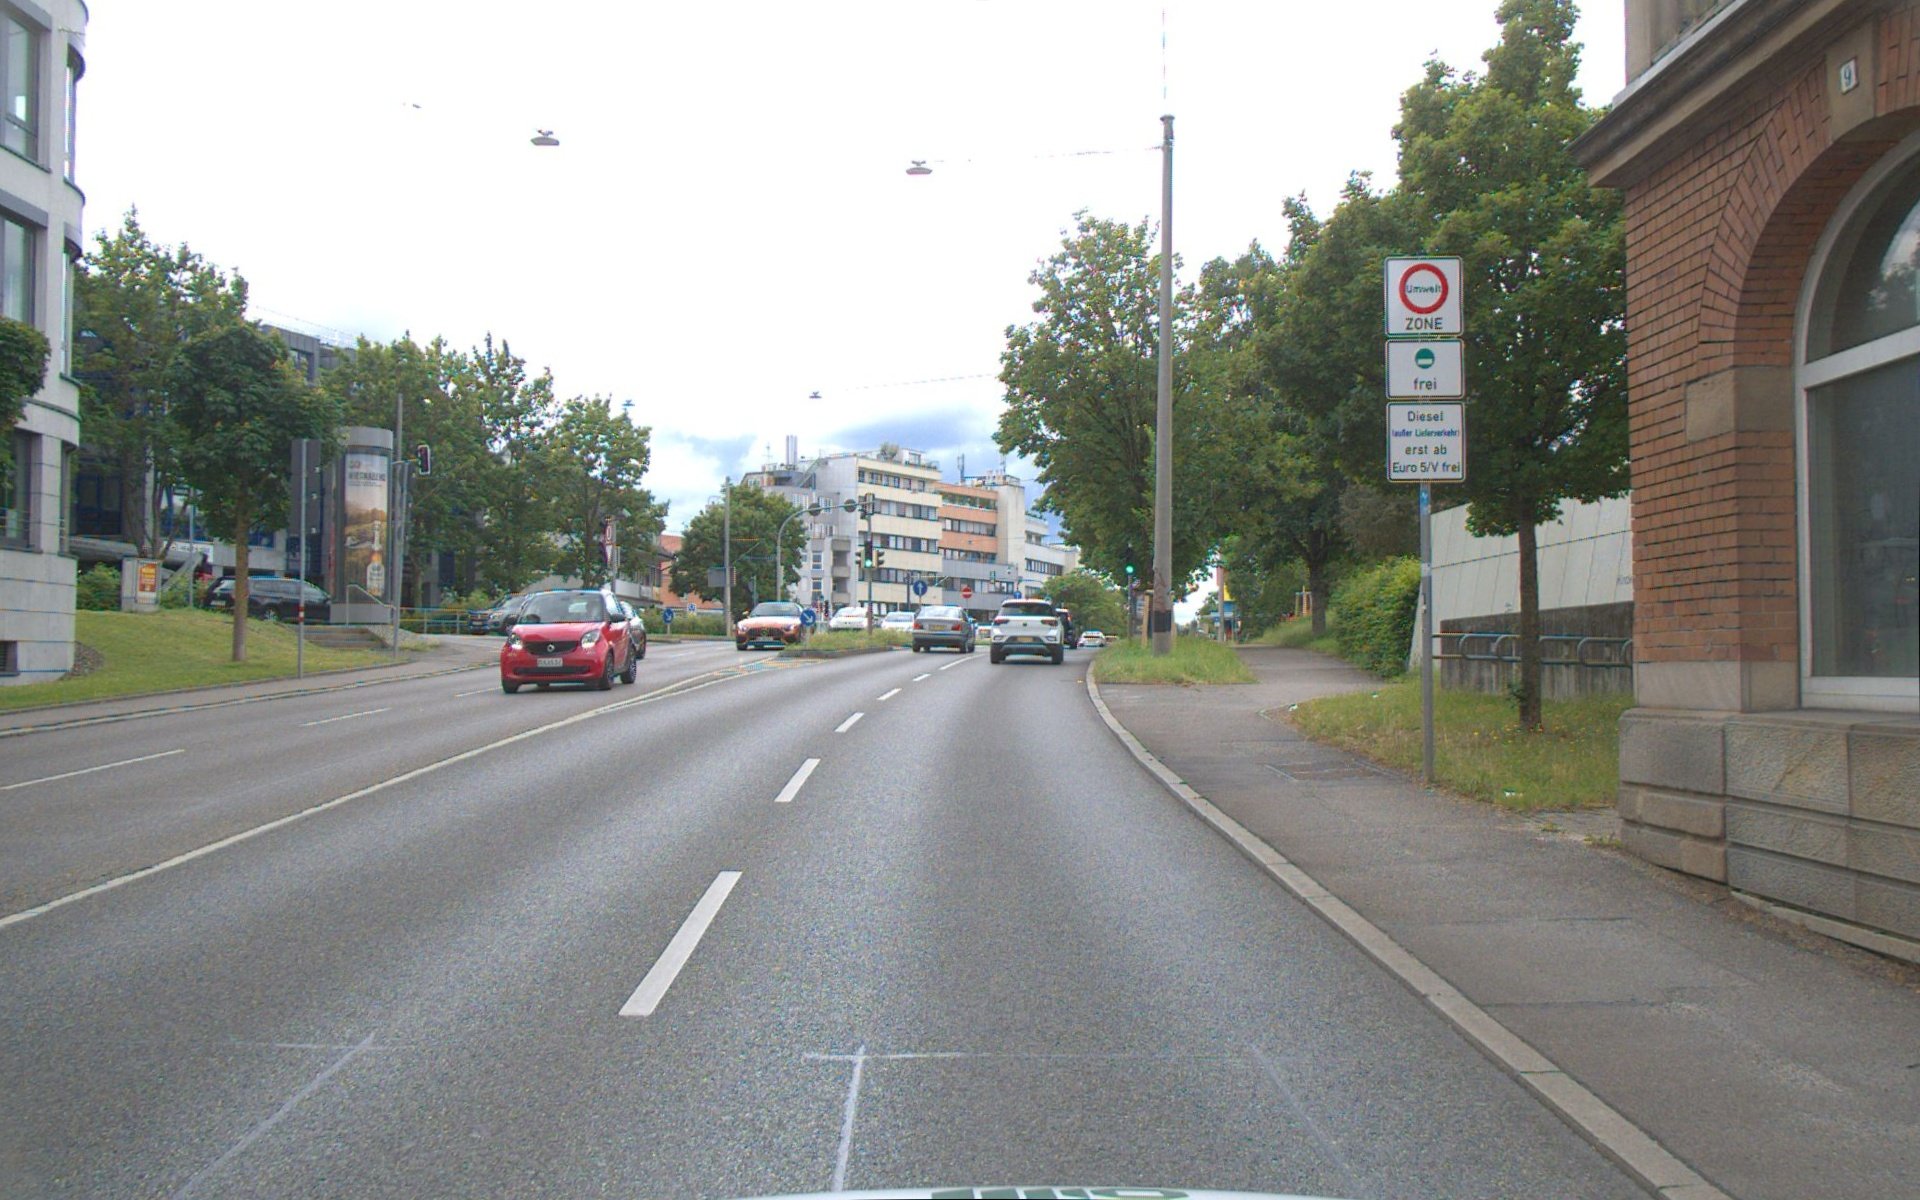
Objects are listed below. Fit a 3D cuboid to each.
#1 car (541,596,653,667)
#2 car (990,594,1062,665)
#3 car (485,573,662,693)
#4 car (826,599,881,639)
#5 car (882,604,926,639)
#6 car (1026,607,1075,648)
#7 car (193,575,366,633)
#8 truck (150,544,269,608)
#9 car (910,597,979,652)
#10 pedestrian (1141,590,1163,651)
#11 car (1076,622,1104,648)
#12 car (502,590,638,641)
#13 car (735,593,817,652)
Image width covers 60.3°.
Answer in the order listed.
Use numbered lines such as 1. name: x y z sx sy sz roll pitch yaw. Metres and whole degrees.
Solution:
1. car: -8.555 0.713 39.306 1.711 1.521 4.207 -2 0 0
2. car: 1.620 0.709 41.675 1.665 1.575 3.737 3 1 1
3. car: -6.202 0.489 27.069 1.831 1.731 4.429 -2 0 -1
4. car: -4.163 0.730 65.165 1.740 1.507 3.981 0 0 2
5. car: -2.580 0.985 77.122 1.740 1.592 4.001 0 0 2
6. car: 3.463 1.068 63.758 1.665 1.542 3.493 1 -1 0
7. car: -18.794 0.106 45.920 1.741 1.488 4.438 2 1 24
8. truck: -30.146 -0.945 66.564 1.954 2.428 3.997 2 0 25
9. car: -0.439 0.702 49.927 1.664 1.542 3.739 0 1 6
10. pedestrian: 5.992 0.642 51.674 0.629 1.888 0.673 0 0 0
11. car: 8.523 2.295 108.525 1.733 1.598 4.287 0 0 3
12. car: -12.522 0.495 53.255 1.751 1.571 3.974 0 -1 43
13. car: -5.438 0.628 49.356 1.733 1.598 4.286 2 0 2
